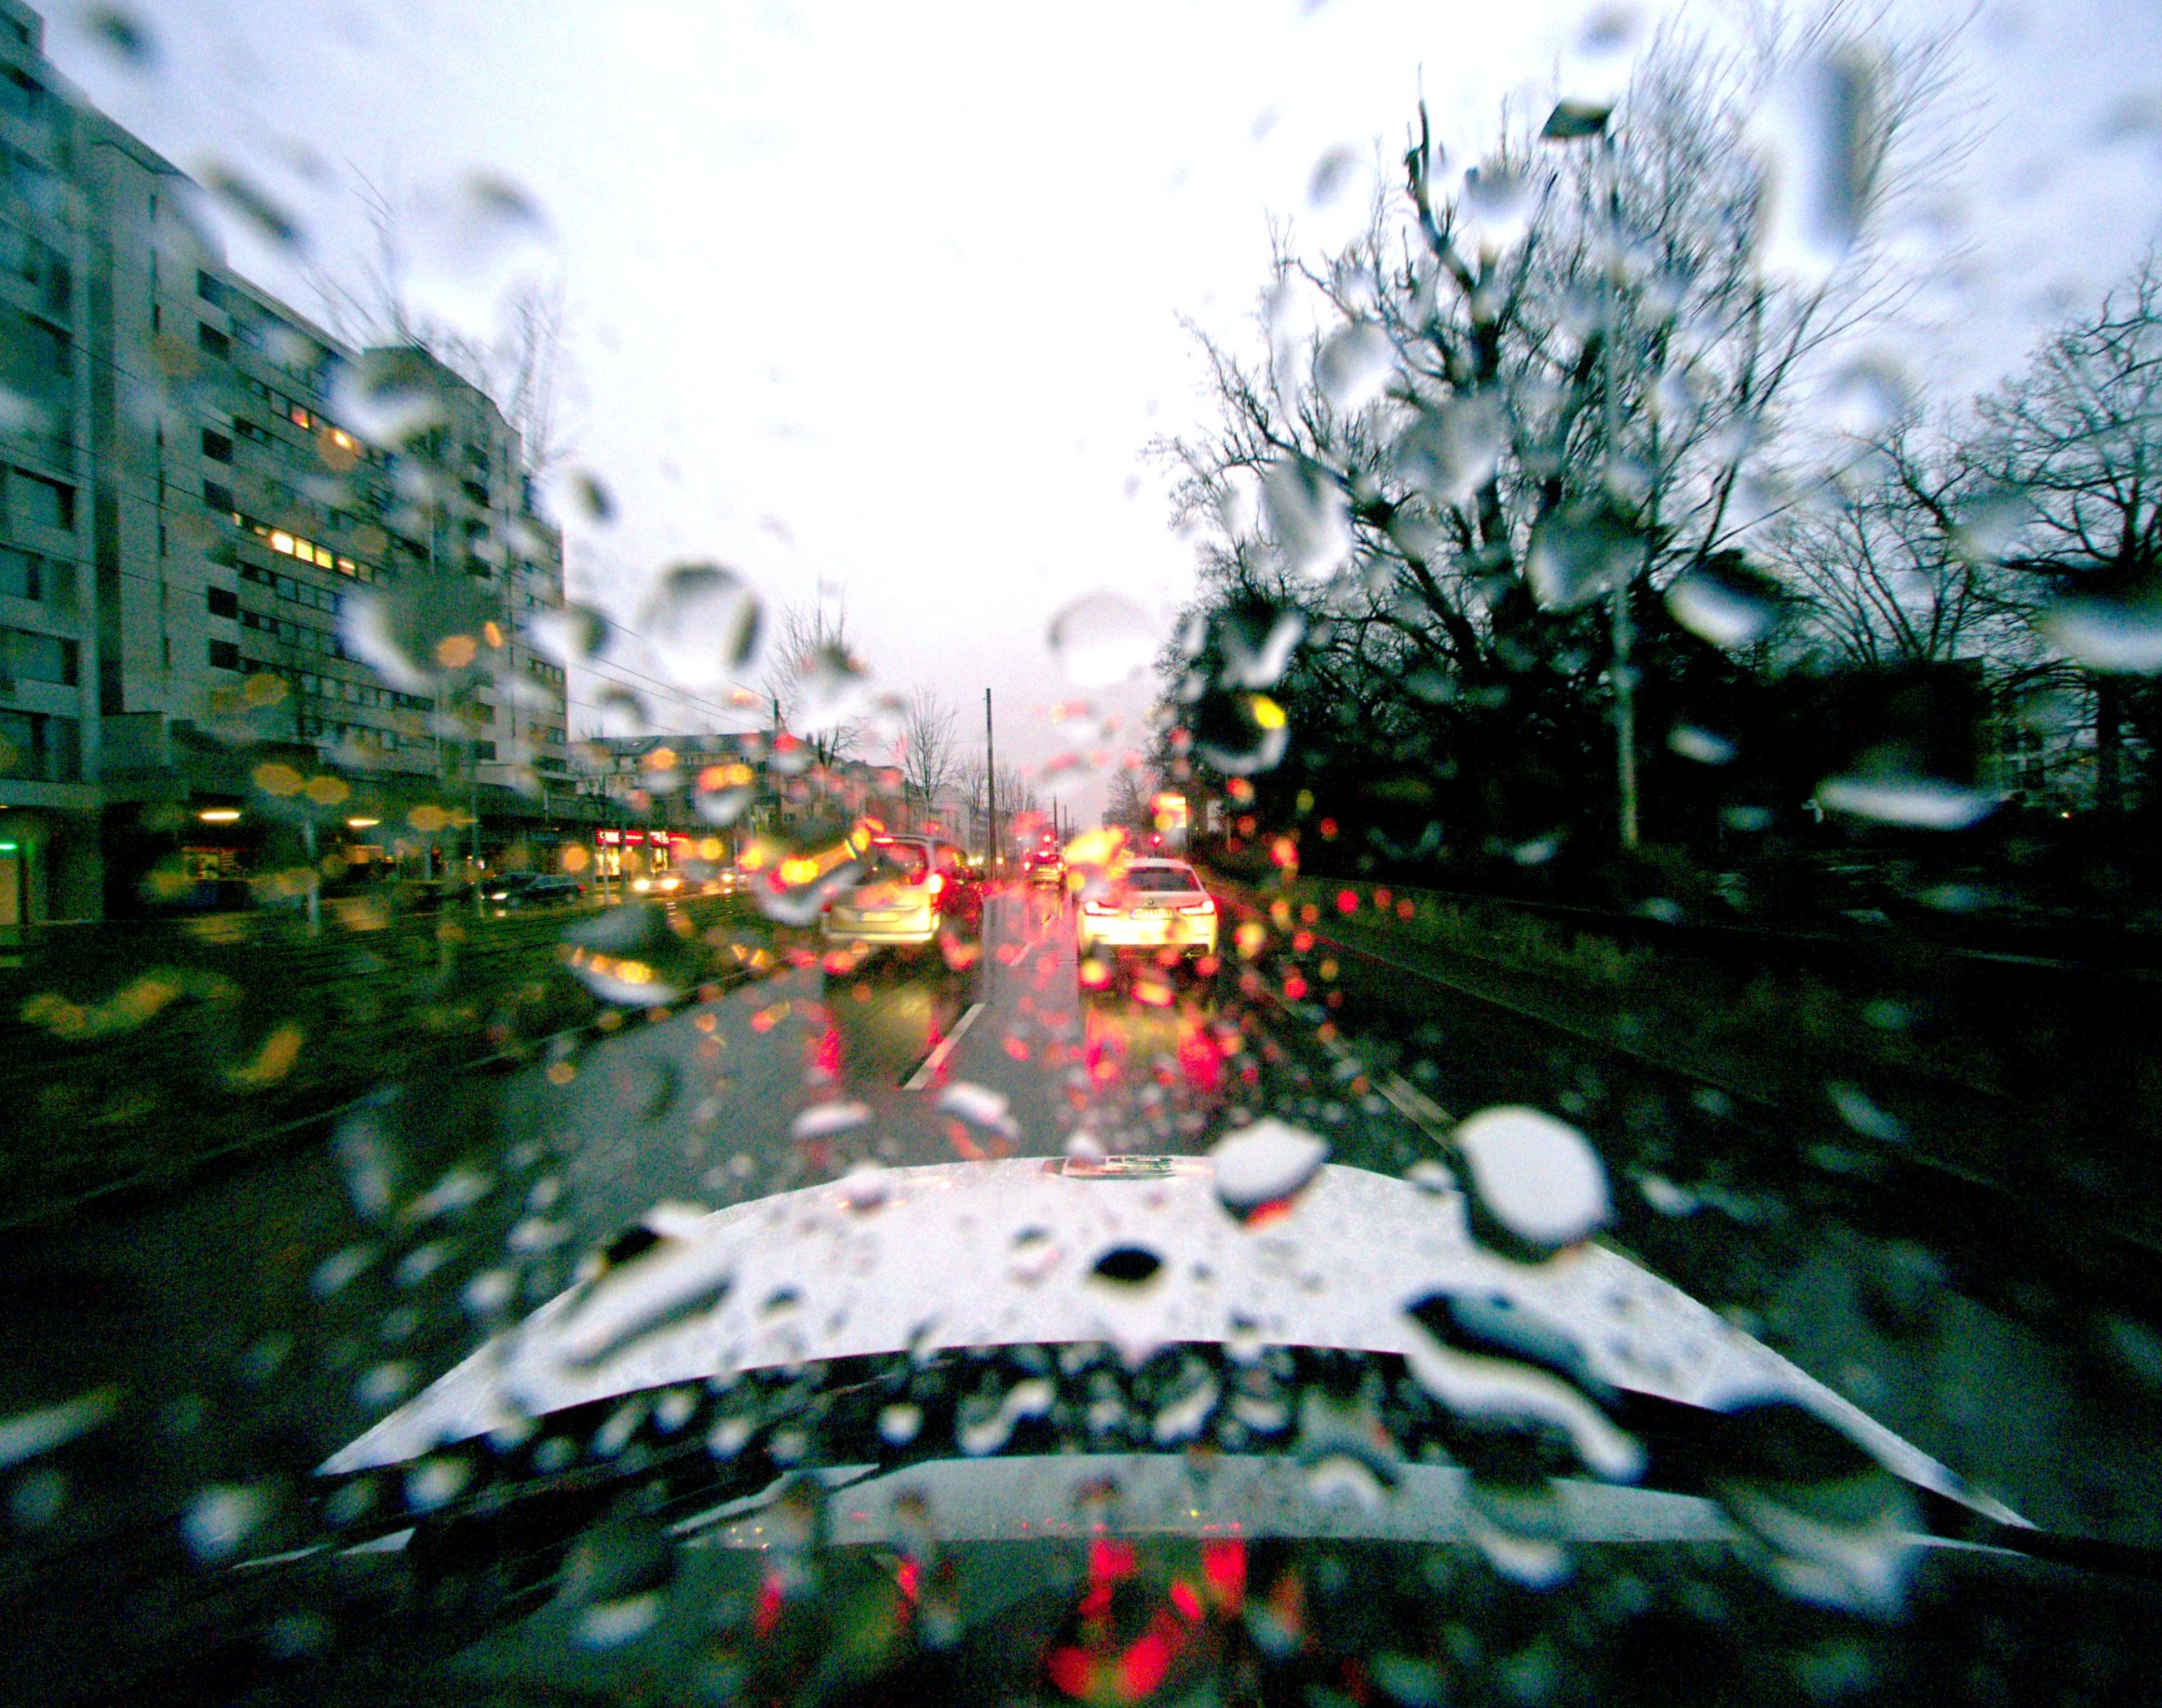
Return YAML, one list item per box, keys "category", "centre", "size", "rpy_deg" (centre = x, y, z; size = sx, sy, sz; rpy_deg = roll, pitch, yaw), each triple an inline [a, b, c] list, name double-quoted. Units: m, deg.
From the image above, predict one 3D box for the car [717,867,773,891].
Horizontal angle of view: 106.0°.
- category: "car"
  centre: [-24.169, 1.800, 58.764]
  size: [1.889, 1.516, 4.794]
  rpy_deg: [-2, 0, 2]

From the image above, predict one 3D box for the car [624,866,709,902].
- category: "car"
  centre: [-18.964, 1.337, 37.467]
  size: [1.889, 1.431, 3.708]
  rpy_deg: [-2, 0, 1]

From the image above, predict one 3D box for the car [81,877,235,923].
- category: "car"
  centre: [-38.539, 1.906, 34.086]
  size: [4.347, 1.695, 1.727]
  rpy_deg: [-2, 0, -1]

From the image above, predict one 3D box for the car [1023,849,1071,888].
- category: "car"
  centre: [-1.461, 0.597, 36.222]
  size: [1.800, 1.646, 4.002]
  rpy_deg: [0, 0, 2]

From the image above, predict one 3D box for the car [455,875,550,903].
- category: "car"
  centre: [-30.852, 1.835, 43.603]
  size: [4.015, 1.387, 1.916]
  rpy_deg: [1, -1, -34]

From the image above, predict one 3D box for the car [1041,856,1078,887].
- category: "car"
  centre: [-1.211, 1.006, 47.735]
  size: [1.986, 1.755, 4.001]
  rpy_deg: [0, 0, 1]

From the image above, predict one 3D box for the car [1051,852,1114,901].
- category: "car"
  centre: [0.113, 0.682, 26.948]
  size: [1.928, 1.457, 4.165]
  rpy_deg: [-1, 0, 2]

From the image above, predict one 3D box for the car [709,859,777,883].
- category: "car"
  centre: [-29.907, 1.454, 72.236]
  size: [5.193, 1.912, 1.975]
  rpy_deg: [-2, 0, -44]

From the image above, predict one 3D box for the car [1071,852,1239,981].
- category: "car"
  centre: [0.957, 0.746, 11.831]
  size: [1.992, 1.508, 4.165]
  rpy_deg: [-1, 0, 2]

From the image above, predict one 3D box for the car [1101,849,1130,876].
- category: "car"
  centre: [2.196, 0.511, 52.095]
  size: [1.800, 1.646, 4.002]
  rpy_deg: [0, 0, 2]

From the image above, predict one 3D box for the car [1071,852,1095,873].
- category: "car"
  centre: [0.212, 0.647, 66.974]
  size: [1.800, 1.646, 4.002]
  rpy_deg: [0, 0, 2]

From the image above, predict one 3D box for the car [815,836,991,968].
- category: "car"
  centre: [-2.600, 0.642, 13.025]
  size: [1.787, 1.736, 4.537]
  rpy_deg: [0, 0, 0]

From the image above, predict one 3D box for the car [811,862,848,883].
- category: "car"
  centre: [-23.341, 1.710, 75.668]
  size: [1.889, 1.813, 4.532]
  rpy_deg: [-2, 0, 2]

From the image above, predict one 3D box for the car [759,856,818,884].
- category: "car"
  centre: [-19.488, 1.013, 54.499]
  size: [1.889, 1.719, 5.120]
  rpy_deg: [-2, 0, 1]

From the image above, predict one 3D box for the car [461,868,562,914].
- category: "car"
  centre: [-26.428, 1.684, 37.984]
  size: [1.715, 1.885, 3.930]
  rpy_deg: [-1, 0, 4]
